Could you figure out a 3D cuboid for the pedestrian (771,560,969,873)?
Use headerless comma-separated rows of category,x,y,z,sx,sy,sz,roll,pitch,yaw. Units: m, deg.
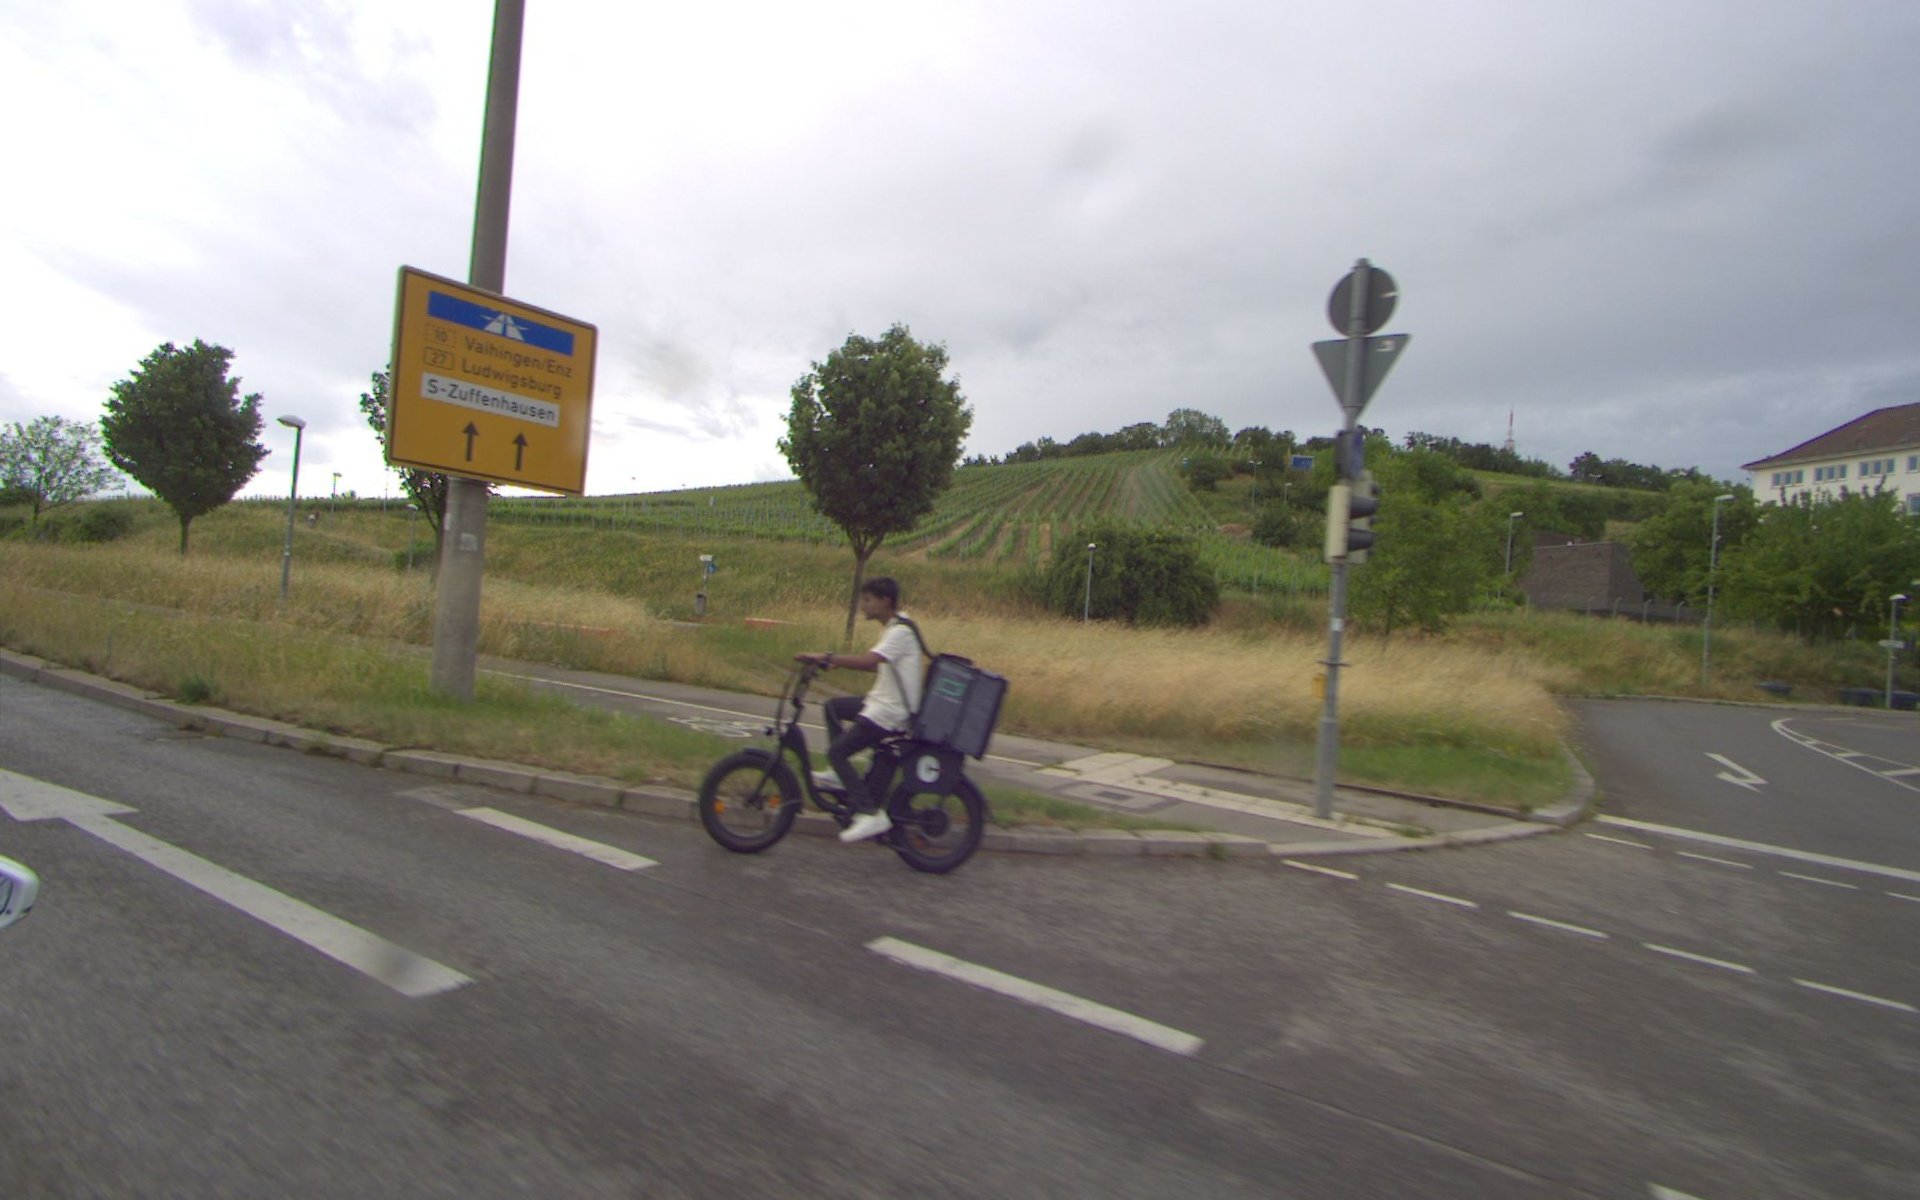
pedestrian,-0.485,0.631,5.731,0.879,1.590,0.635,7,1,2

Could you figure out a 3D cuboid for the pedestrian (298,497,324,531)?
pedestrian,-42.477,-5.607,65.884,1.036,2.039,0.780,6,1,-3

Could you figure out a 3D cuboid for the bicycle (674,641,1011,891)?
bicycle,-0.629,0.908,5.753,1.720,1.119,0.635,7,1,2
